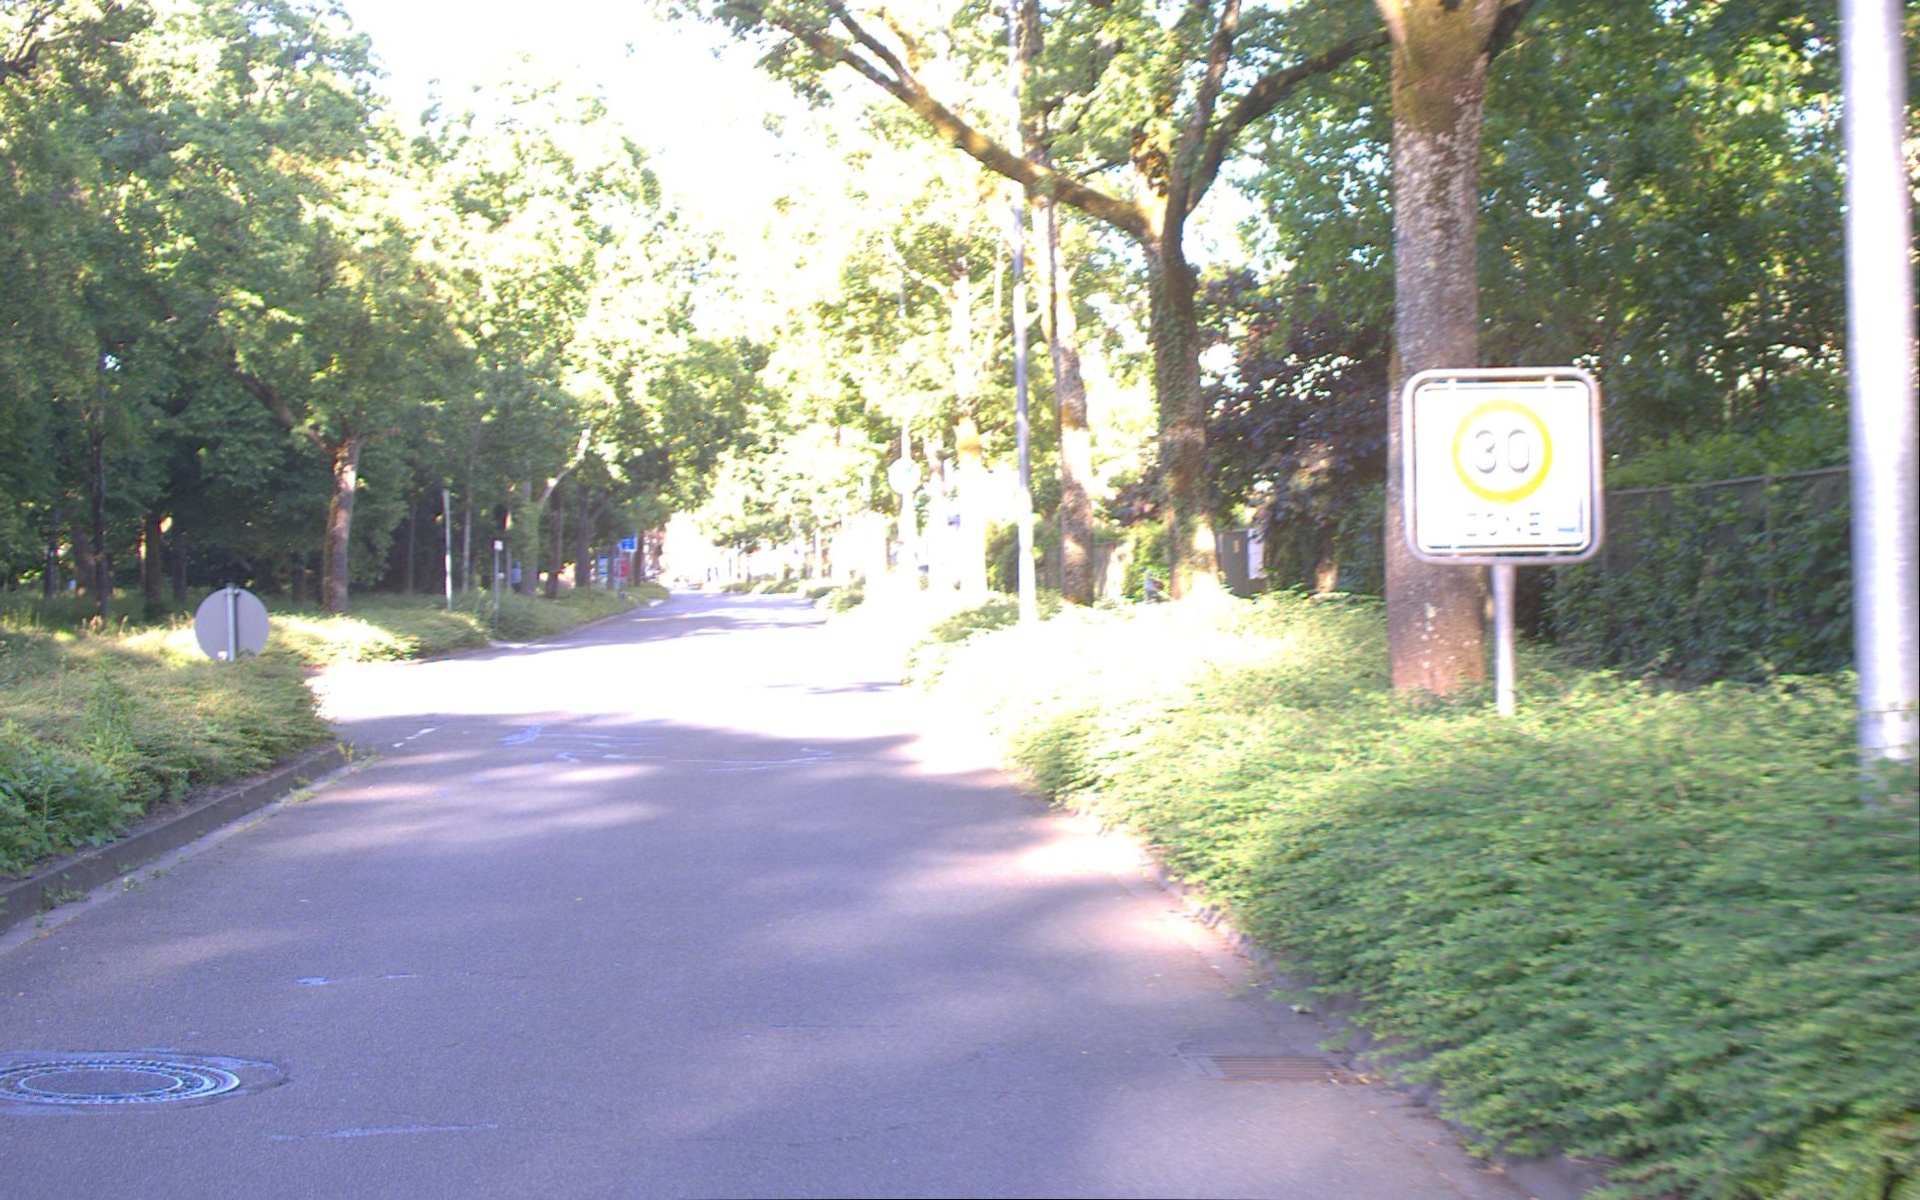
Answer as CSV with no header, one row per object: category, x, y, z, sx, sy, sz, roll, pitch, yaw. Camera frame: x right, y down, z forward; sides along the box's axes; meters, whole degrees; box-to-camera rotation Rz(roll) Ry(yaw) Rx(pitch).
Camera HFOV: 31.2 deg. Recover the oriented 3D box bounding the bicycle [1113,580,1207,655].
bicycle,3.492,0.298,59.908,0.884,1.196,2.324,-3,1,22
